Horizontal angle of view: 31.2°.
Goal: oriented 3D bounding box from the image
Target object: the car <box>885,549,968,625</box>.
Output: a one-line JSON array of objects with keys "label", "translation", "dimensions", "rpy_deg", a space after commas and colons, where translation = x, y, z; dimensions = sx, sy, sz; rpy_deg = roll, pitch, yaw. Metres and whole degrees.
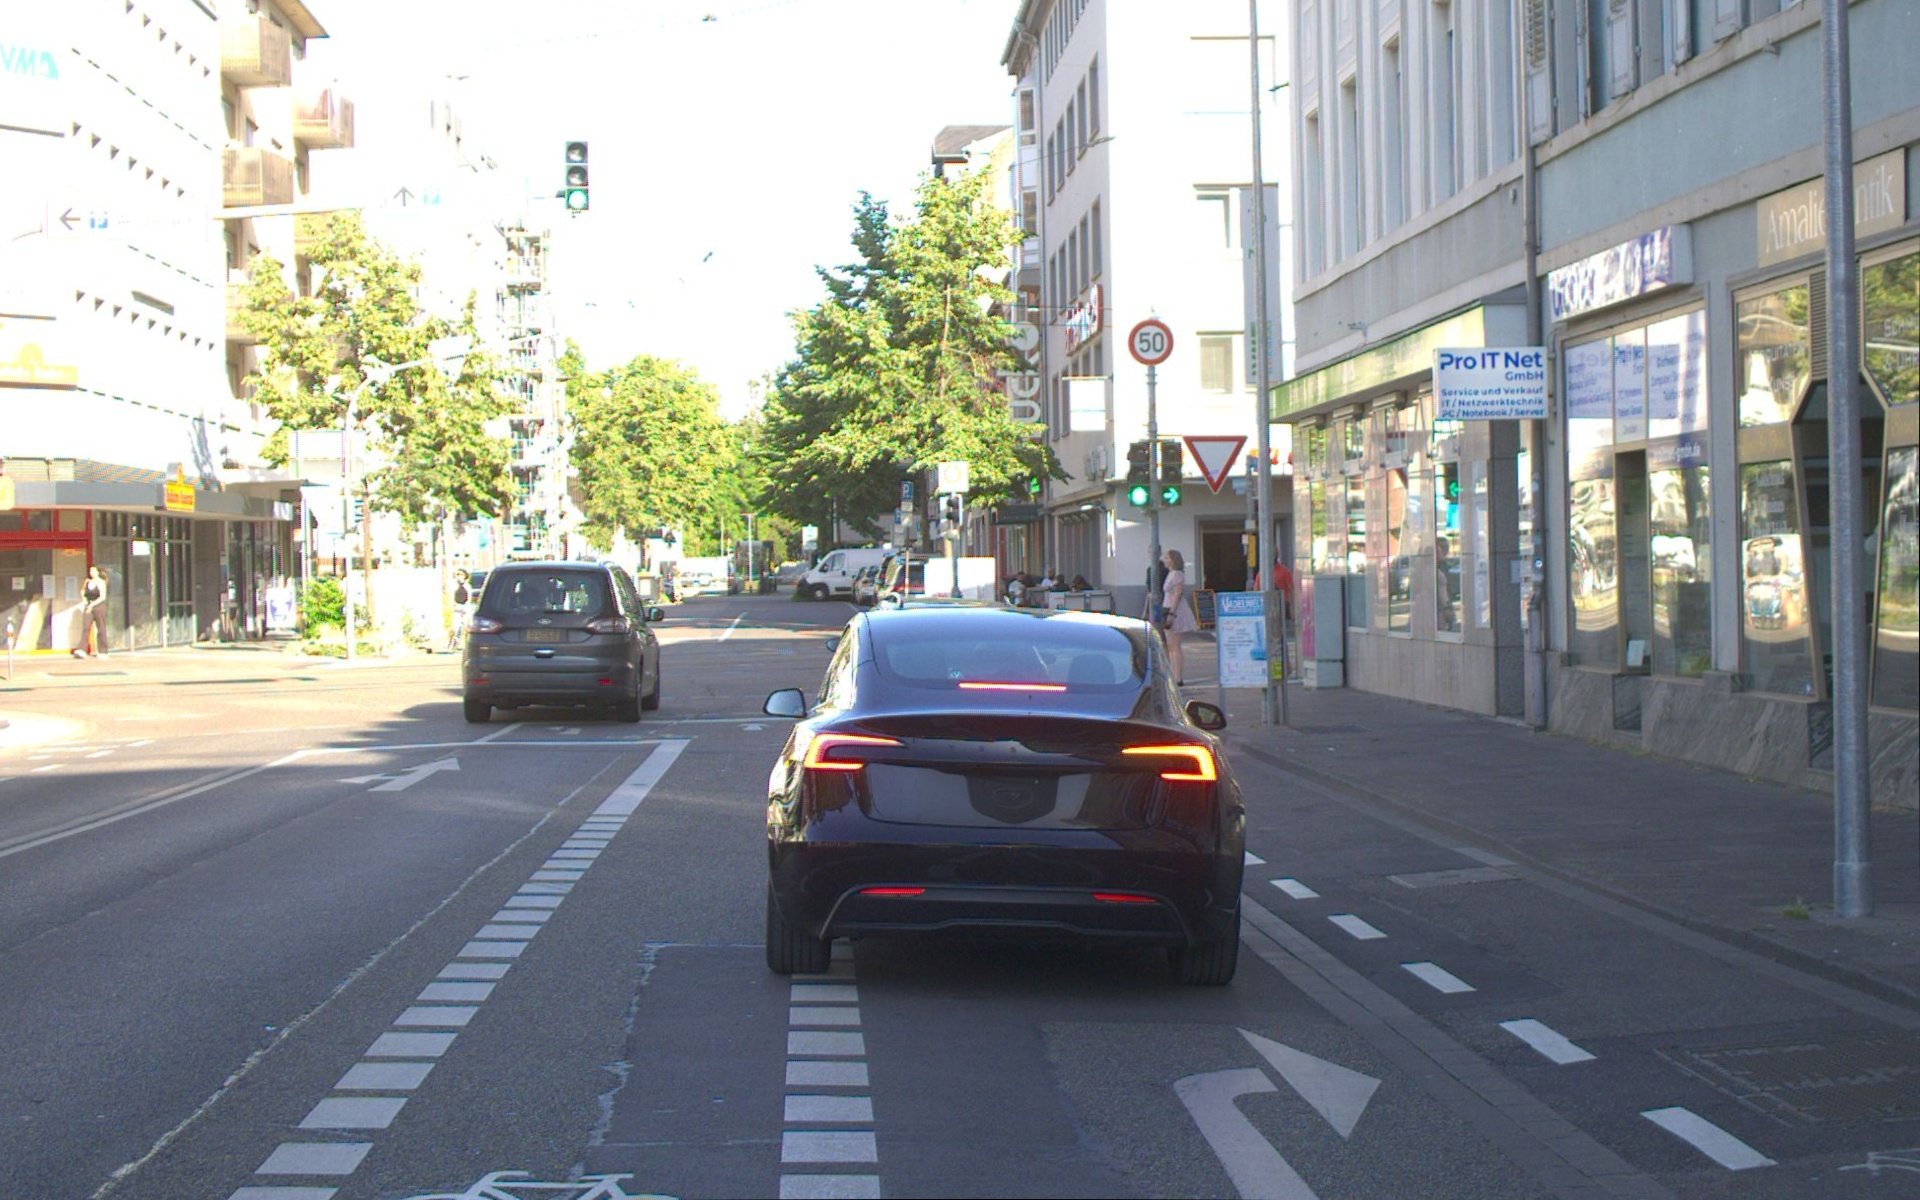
[{"label": "car", "translation": [-0.875, -0.346, 86.929], "dimensions": [1.904, 1.846, 4.289], "rpy_deg": [-1, 1, -2]}]

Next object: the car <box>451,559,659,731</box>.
[{"label": "car", "translation": [-4.349, 0.433, 37.497], "dimensions": [1.904, 1.727, 4.289], "rpy_deg": [-1, 1, -2]}]

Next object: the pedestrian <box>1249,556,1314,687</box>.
[{"label": "pedestrian", "translation": [4.270, 0.273, 45.687], "dimensions": [0.690, 1.697, 0.912], "rpy_deg": [-3, 1, -1]}]

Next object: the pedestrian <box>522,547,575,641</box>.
[{"label": "pedestrian", "translation": [-8.415, -0.132, 70.324], "dimensions": [0.778, 1.860, 1.002], "rpy_deg": [-4, 2, -17]}]

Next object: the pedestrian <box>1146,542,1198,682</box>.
[{"label": "pedestrian", "translation": [2.686, 0.148, 43.635], "dimensions": [0.572, 1.753, 0.649], "rpy_deg": [-1, 1, -3]}]

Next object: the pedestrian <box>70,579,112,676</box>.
[{"label": "pedestrian", "translation": [-15.570, 0.493, 61.618], "dimensions": [0.558, 1.703, 0.712], "rpy_deg": [-2, 0, -5]}]

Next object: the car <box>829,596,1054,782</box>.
[{"label": "car", "translation": [-0.177, 0.701, 29.375], "dimensions": [1.761, 1.414, 4.355], "rpy_deg": [-1, 0, -1]}]

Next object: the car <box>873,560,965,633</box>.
[{"label": "car", "translation": [-0.991, -0.104, 80.493], "dimensions": [2.001, 1.630, 4.289], "rpy_deg": [-1, 1, -2]}]

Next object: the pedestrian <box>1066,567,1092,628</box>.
[{"label": "pedestrian", "translation": [2.624, -0.050, 75.724], "dimensions": [0.488, 1.317, 0.653], "rpy_deg": [-2, 0, 5]}]

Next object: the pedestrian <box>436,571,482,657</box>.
[{"label": "pedestrian", "translation": [-10.061, 0.275, 68.995], "dimensions": [0.790, 1.706, 0.654], "rpy_deg": [-1, 1, -17]}]

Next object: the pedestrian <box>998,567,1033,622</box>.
[{"label": "pedestrian", "translation": [1.387, -0.147, 85.513], "dimensions": [0.709, 1.343, 1.060], "rpy_deg": [-2, 0, -6]}]

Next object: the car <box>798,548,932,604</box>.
[{"label": "car", "translation": [-3.945, -0.992, 142.157], "dimensions": [5.390, 2.138, 2.000], "rpy_deg": [-2, 0, -3]}]

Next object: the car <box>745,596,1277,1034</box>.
[{"label": "car", "translation": [0.119, 0.766, 14.499], "dimensions": [1.869, 1.422, 4.365], "rpy_deg": [-2, 1, -2]}]

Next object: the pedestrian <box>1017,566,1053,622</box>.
[{"label": "pedestrian", "translation": [1.838, -0.144, 84.419], "dimensions": [0.730, 1.343, 1.060], "rpy_deg": [-2, 0, -5]}]

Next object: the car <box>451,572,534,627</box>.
[{"label": "car", "translation": [-14.008, -0.024, 103.213], "dimensions": [1.993, 1.592, 4.000], "rpy_deg": [-1, 1, -1]}]

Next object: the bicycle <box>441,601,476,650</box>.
[{"label": "bicycle", "translation": [-10.113, 0.510, 69.296], "dimensions": [0.480, 0.952, 1.456], "rpy_deg": [-2, 1, -16]}]

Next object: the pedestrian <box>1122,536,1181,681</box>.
[{"label": "pedestrian", "translation": [2.460, 0.102, 44.171], "dimensions": [0.640, 1.835, 0.682], "rpy_deg": [-2, 1, -3]}]

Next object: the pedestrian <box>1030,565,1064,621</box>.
[{"label": "pedestrian", "translation": [2.161, -0.175, 85.701], "dimensions": [0.730, 1.356, 0.959], "rpy_deg": [-2, 0, -3]}]

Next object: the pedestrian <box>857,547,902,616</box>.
[{"label": "pedestrian", "translation": [-2.276, -0.532, 96.923], "dimensions": [0.958, 1.909, 1.104], "rpy_deg": [-2, 0, 14]}]

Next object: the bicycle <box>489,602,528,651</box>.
[{"label": "bicycle", "translation": [-9.233, 0.542, 70.217], "dimensions": [0.552, 0.965, 1.795], "rpy_deg": [-2, 1, -14]}]

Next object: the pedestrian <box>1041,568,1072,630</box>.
[{"label": "pedestrian", "translation": [2.106, -0.025, 74.925], "dimensions": [0.586, 1.308, 0.560], "rpy_deg": [-2, 0, -2]}]
